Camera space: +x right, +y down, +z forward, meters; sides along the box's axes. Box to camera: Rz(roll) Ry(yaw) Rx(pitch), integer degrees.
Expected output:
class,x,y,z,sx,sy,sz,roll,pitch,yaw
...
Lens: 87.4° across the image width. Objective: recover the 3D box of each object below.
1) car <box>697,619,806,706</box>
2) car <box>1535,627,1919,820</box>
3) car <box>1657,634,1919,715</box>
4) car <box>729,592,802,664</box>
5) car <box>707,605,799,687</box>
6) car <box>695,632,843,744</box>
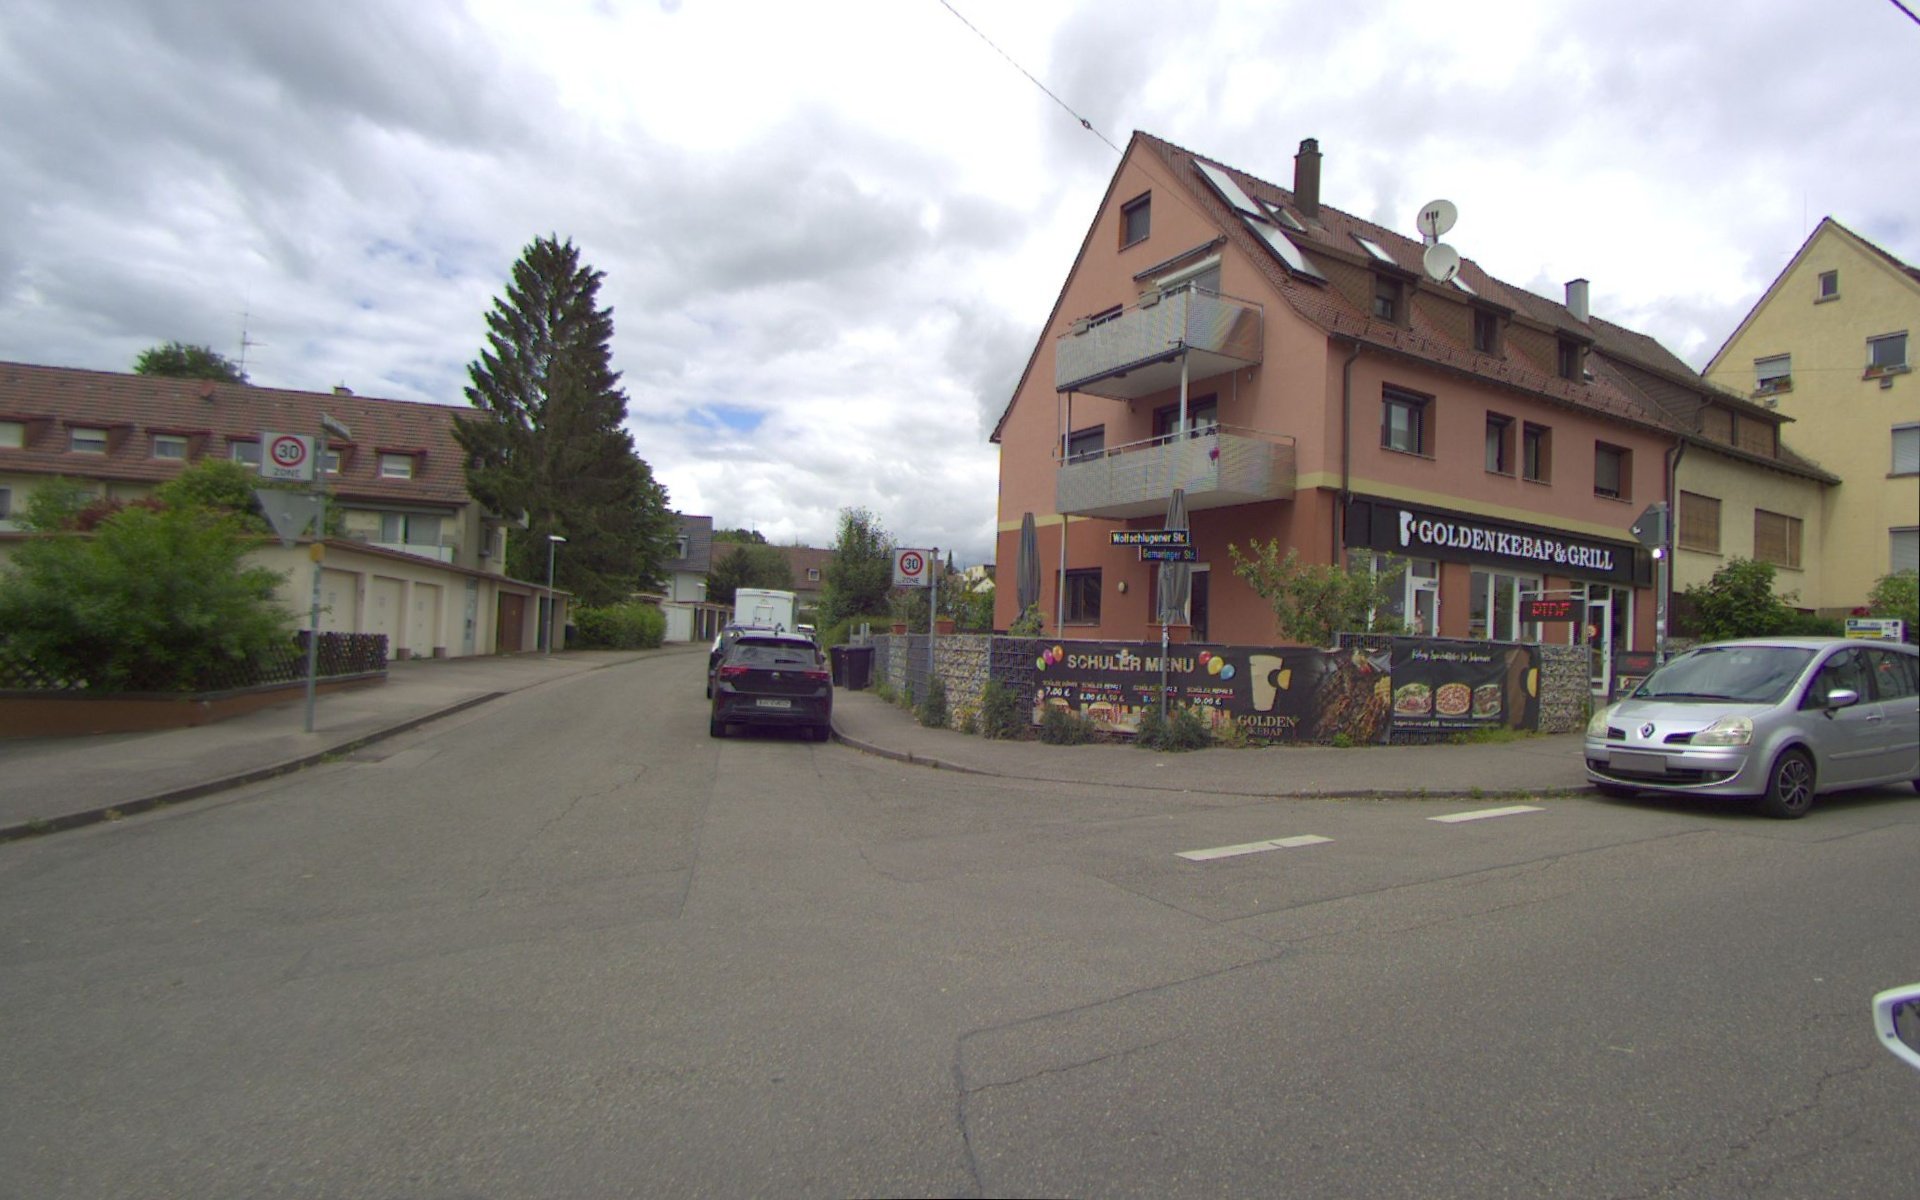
class,x,y,z,sx,sy,sz,roll,pitch,yaw
car,-4.310,1.289,21.391,1.964,1.583,4.413,3,-3,-9
car,7.959,1.127,9.997,3.975,1.598,1.830,1,-5,-24
car,17.327,1.521,20.922,1.976,1.491,4.212,4,-4,-29
car,-8.246,1.179,43.088,2.633,2.861,5.470,1,-1,-7
car,-5.695,1.268,28.105,1.962,2.040,3.998,3,-2,-5
car,-2.997,1.326,16.248,1.964,1.491,4.413,3,-3,-9
